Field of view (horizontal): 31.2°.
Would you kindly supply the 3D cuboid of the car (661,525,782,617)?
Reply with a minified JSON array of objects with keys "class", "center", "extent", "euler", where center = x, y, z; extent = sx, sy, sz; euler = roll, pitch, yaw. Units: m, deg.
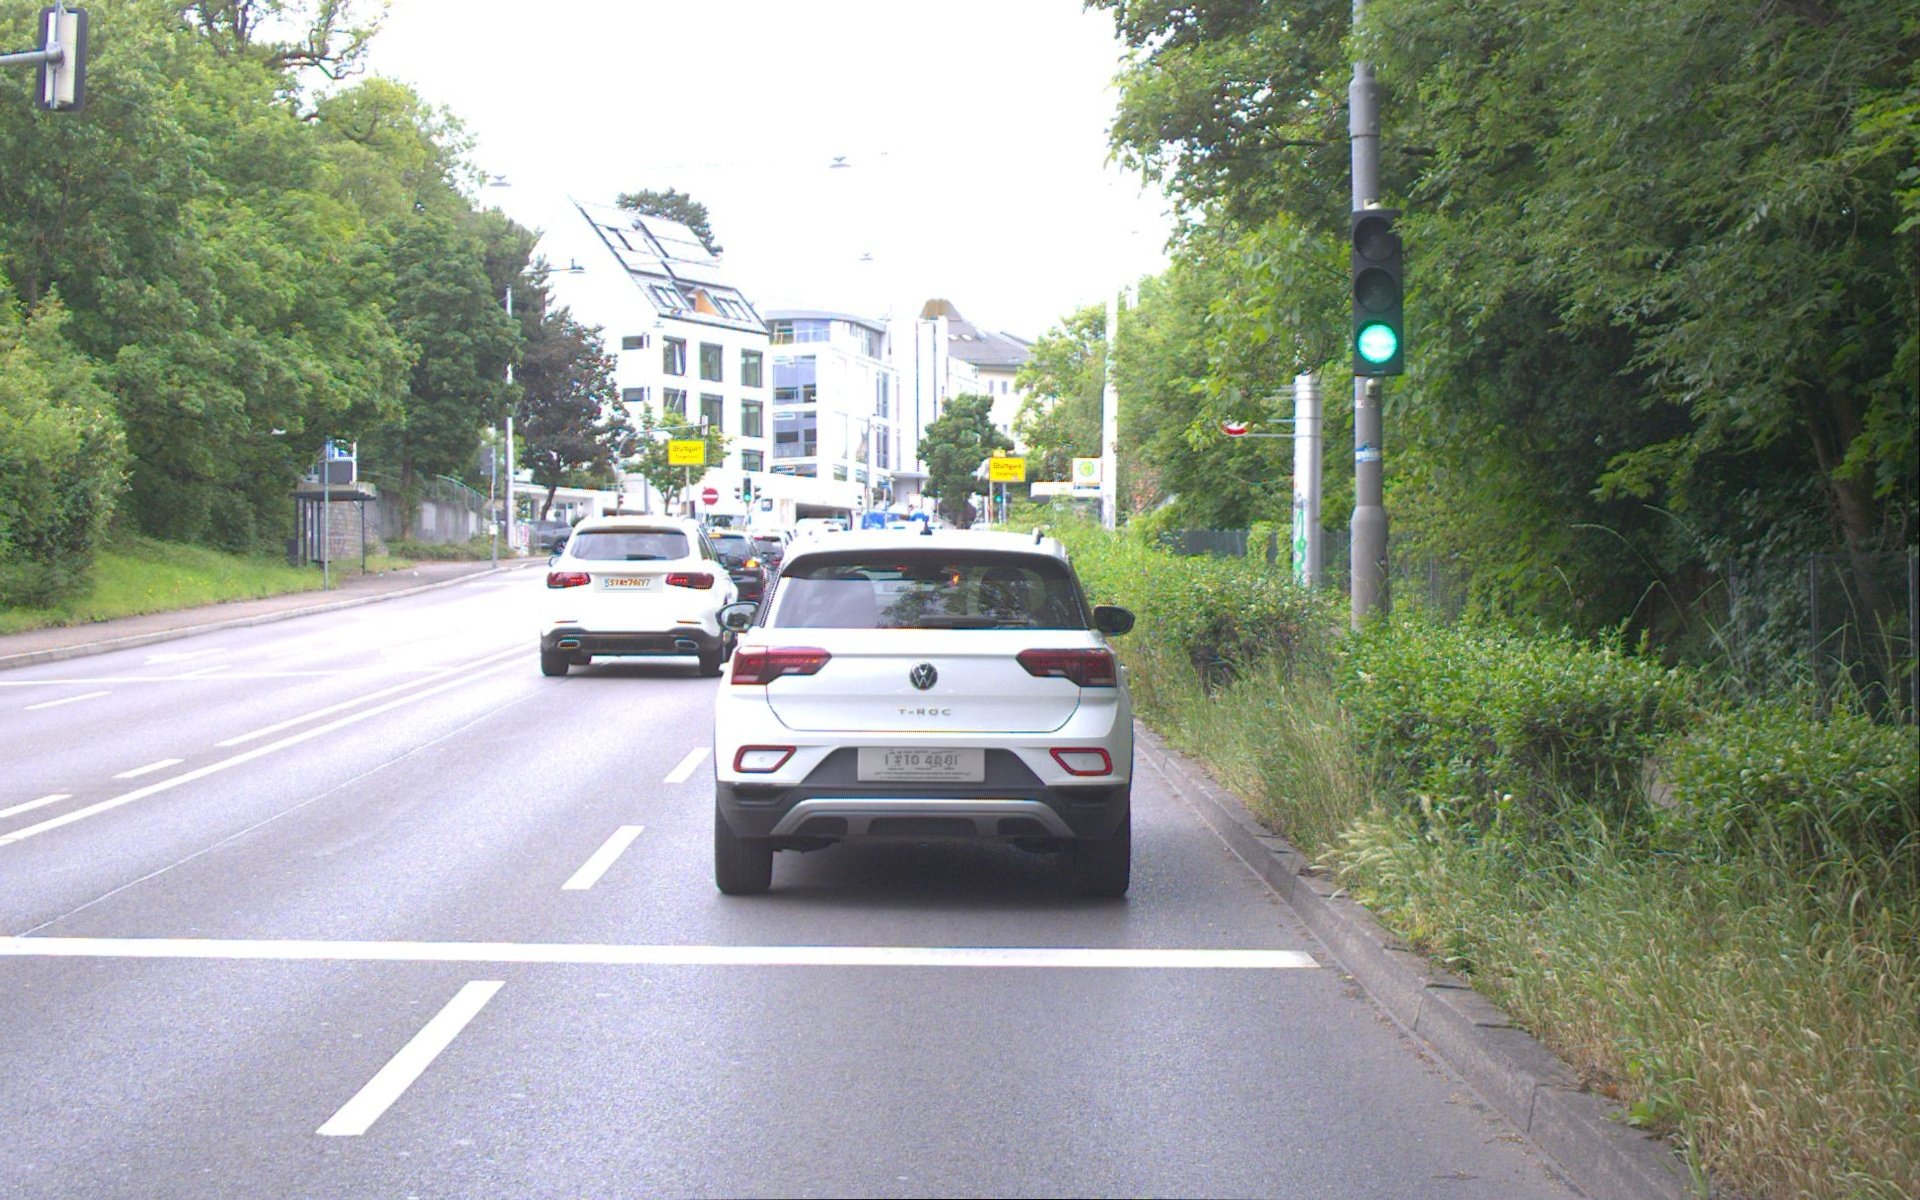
[{"class":"car","center":[-4.047,-0.517,58.795],"extent":[1.829,1.492,4.000],"euler":[-1,1,-1]}]

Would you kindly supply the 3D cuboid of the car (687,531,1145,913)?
[{"class":"car","center":[-0.204,0.449,15.807],"extent":[1.829,1.520,4.000],"euler":[0,1,-1]}]

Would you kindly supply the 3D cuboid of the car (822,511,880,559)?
[{"class":"car","center":[-3.589,-2.165,113.649],"extent":[1.829,1.520,4.000],"euler":[-1,1,-1]}]

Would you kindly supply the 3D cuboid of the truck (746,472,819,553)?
[{"class":"truck","center":[-6.340,-3.135,123.101],"extent":[2.362,2.772,4.478],"euler":[-2,1,-1]}]

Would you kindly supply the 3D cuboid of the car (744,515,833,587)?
[{"class":"car","center":[-3.786,-1.098,76.466],"extent":[1.829,1.520,4.000],"euler":[-1,1,-1]}]

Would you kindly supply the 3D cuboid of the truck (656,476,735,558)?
[{"class":"truck","center":[-9.095,-2.869,118.537],"extent":[2.362,2.697,4.478],"euler":[-2,1,-1]}]

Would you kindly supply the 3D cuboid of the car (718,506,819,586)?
[{"class":"car","center":[-3.822,-1.097,69.086],"extent":[1.829,1.520,4.000],"euler":[-1,1,-1]}]

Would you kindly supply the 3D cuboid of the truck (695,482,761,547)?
[{"class":"truck","center":[-11.279,-4.137,167.688],"extent":[2.293,3.040,6.979],"euler":[-1,1,3]}]

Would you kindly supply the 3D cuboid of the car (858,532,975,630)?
[{"class":"car","center":[-0.724,-0.342,56.839],"extent":[1.829,1.520,4.000],"euler":[-1,1,-1]}]

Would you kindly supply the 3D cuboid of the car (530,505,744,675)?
[{"class":"car","center":[-3.319,-0.139,35.994],"extent":[1.918,1.664,4.000],"euler":[0,1,-1]}]

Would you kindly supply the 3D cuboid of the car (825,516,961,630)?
[{"class":"car","center":[-0.940,-0.413,48.855],"extent":[1.829,1.520,4.000],"euler":[-1,1,-1]}]

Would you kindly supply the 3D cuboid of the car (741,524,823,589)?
[{"class":"car","center":[-4.354,-1.081,84.433],"extent":[1.829,1.520,4.000],"euler":[-1,1,-1]}]
